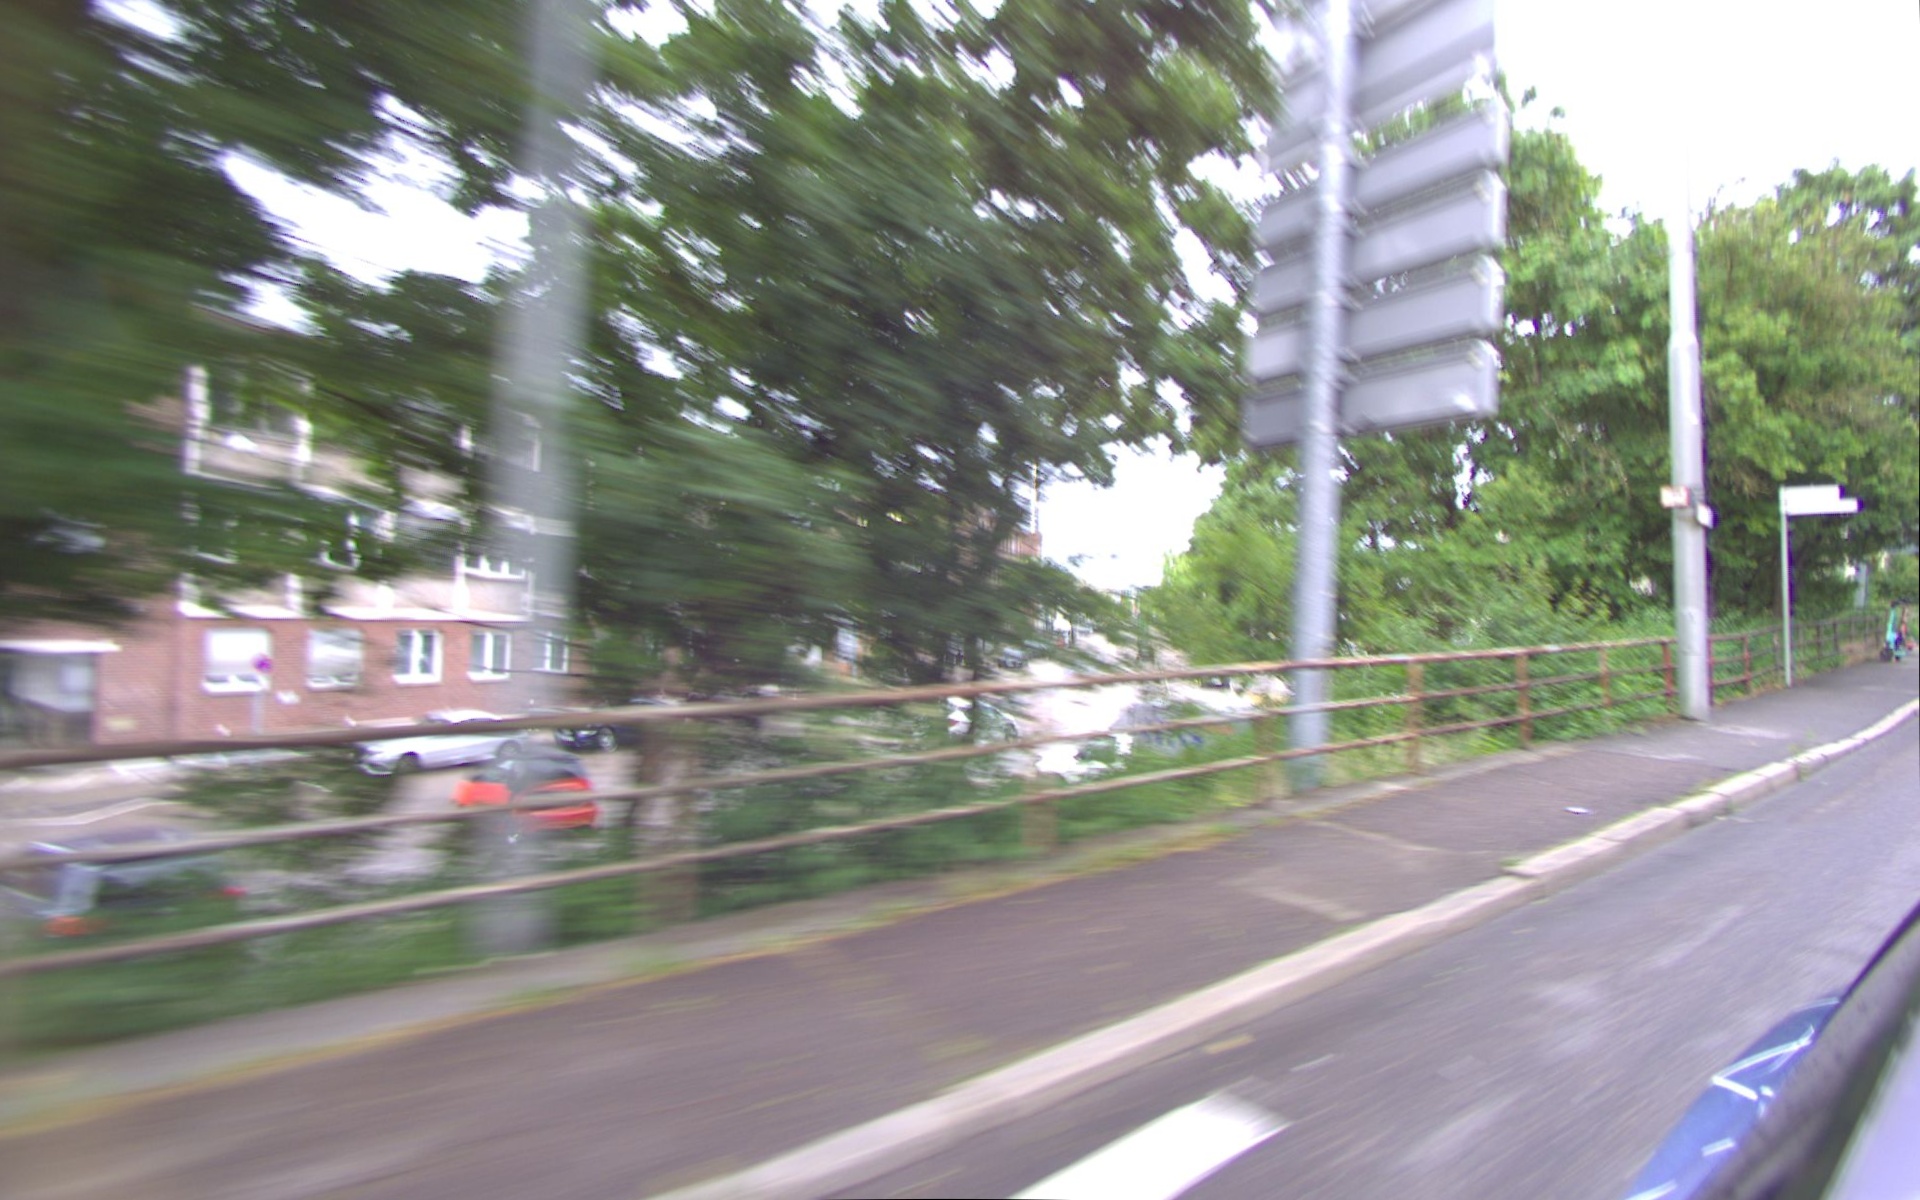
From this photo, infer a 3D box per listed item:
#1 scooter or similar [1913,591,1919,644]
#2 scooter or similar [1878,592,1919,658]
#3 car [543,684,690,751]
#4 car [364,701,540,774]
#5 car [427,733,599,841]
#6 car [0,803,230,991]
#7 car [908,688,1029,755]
[{"bbox_3d":[22.990,0.407,23.890,1.442,1.223,0.574,0,1,-41],"label":"scooter or similar"},{"bbox_3d":[18.671,0.472,20.006,1.812,1.248,0.539,0,1,-41],"label":"scooter or similar"},{"bbox_3d":[-10.734,3.619,31.930,1.732,1.544,4.404,0,0,30],"label":"car"},{"bbox_3d":[-13.560,3.620,27.232,1.656,1.413,3.951,1,0,34],"label":"car"},{"bbox_3d":[-8.213,3.338,18.509,3.393,1.416,1.493,-1,-2,39],"label":"car"},{"bbox_3d":[-9.400,3.027,10.892,3.833,1.323,1.528,-7,-5,38],"label":"car"},{"bbox_3d":[0.340,3.592,30.523,1.732,1.442,4.404,0,0,30],"label":"car"}]
